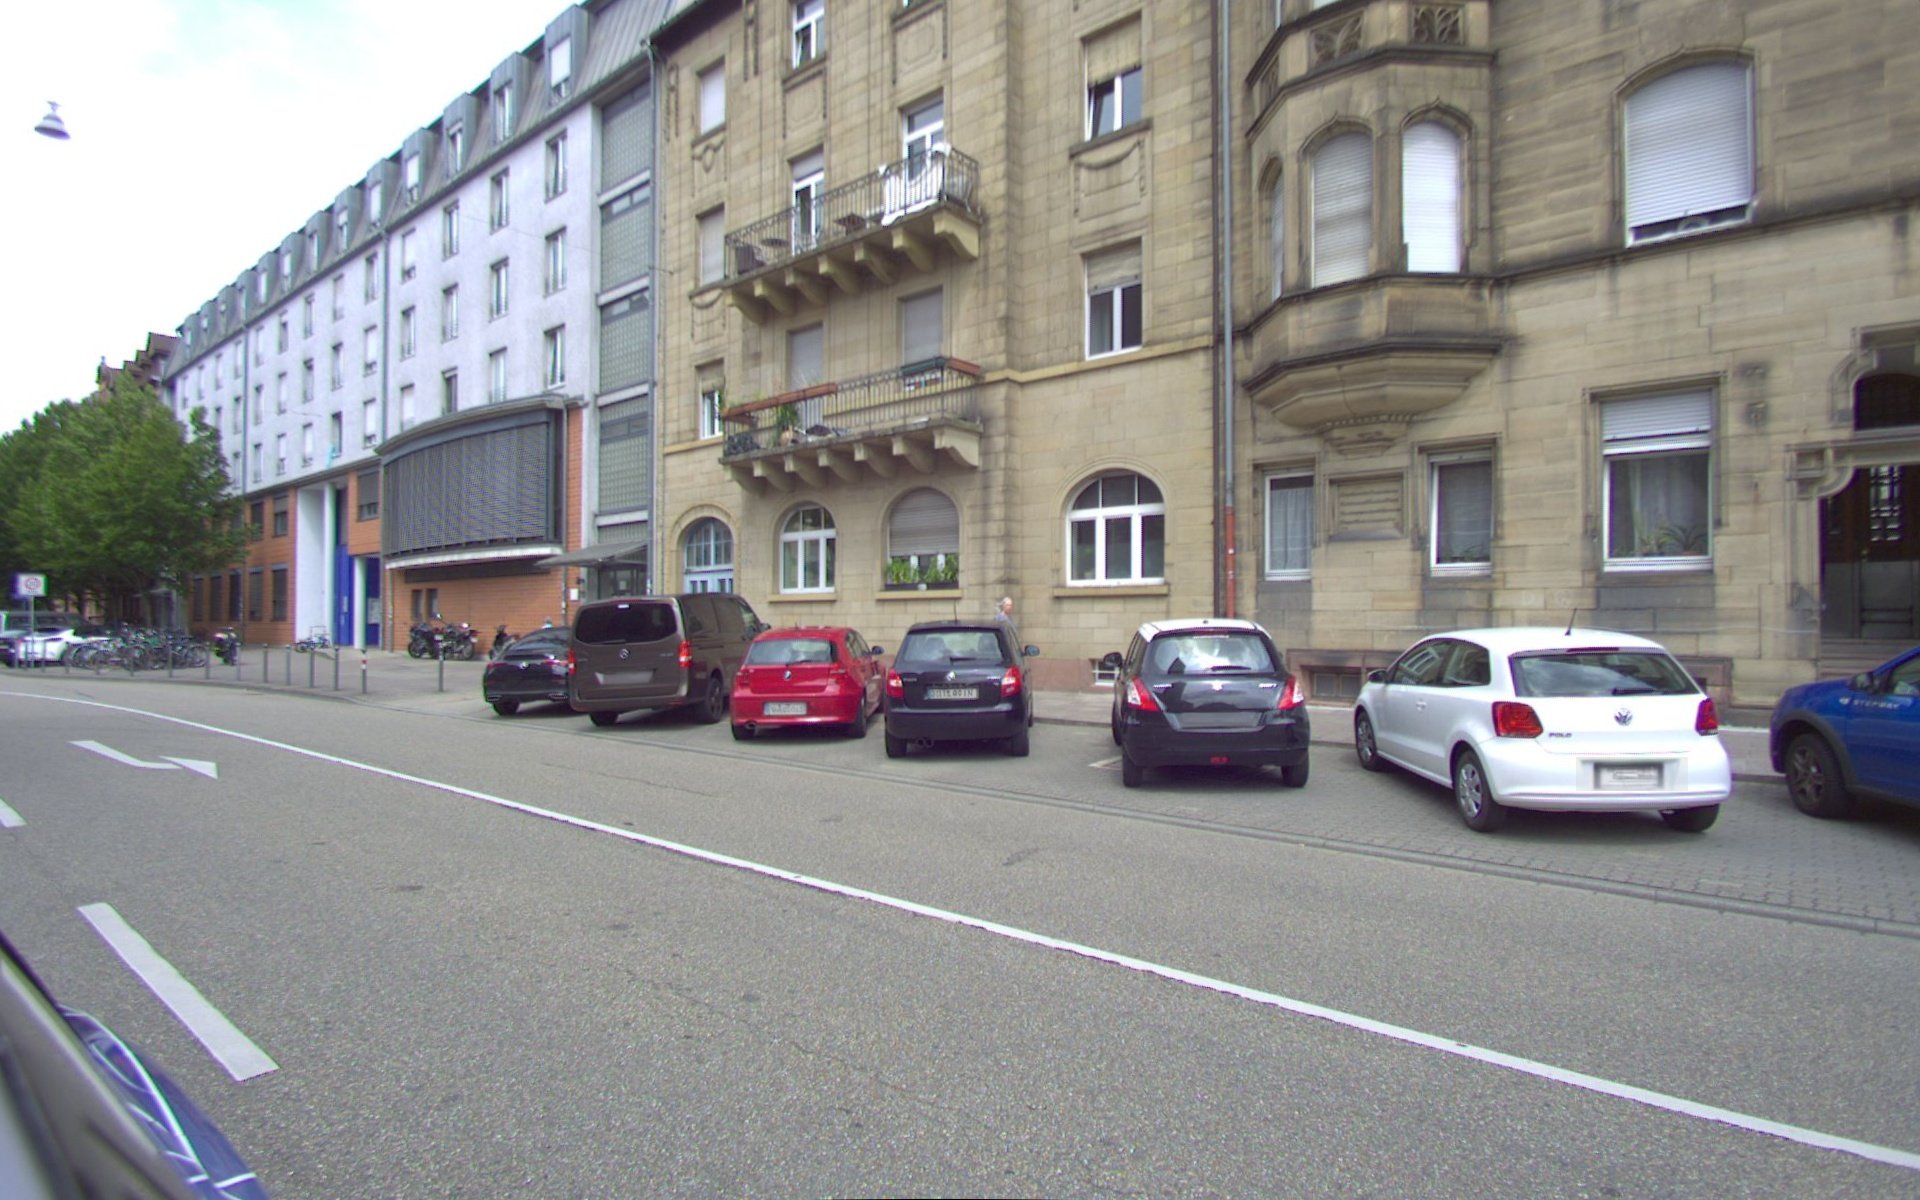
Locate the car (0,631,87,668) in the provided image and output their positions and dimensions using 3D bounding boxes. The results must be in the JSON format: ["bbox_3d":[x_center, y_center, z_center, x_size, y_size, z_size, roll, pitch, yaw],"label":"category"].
[{"bbox_3d":[-39.136,2.043,42.272,1.606,1.457,3.996,-1,-2,7],"label":"car"}]

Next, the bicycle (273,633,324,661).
[{"bbox_3d":[-26.168,1.848,40.032,1.590,0.933,0.933,-6,2,-37],"label":"bicycle"}]

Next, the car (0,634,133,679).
[{"bbox_3d":[-32.668,1.994,36.588,1.697,1.480,4.307,-1,-2,7],"label":"car"}]

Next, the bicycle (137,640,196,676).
[{"bbox_3d":[-24.538,1.782,31.314,0.402,1.034,1.390,-2,-2,43],"label":"bicycle"}]

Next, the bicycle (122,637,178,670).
[{"bbox_3d":[-26.284,1.725,32.852,0.402,1.034,1.390,-2,-2,43],"label":"bicycle"}]

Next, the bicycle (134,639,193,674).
[{"bbox_3d":[-24.926,1.770,31.686,0.402,1.034,1.390,-2,-2,43],"label":"bicycle"}]

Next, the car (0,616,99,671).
[{"bbox_3d":[-37.042,1.681,40.296,1.841,2.013,3.993,-1,0,10],"label":"car"}]

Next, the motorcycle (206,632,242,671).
[{"bbox_3d":[-23.114,1.602,31.763,1.779,1.181,0.577,-2,-1,43],"label":"motorcycle"}]

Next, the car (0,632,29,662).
[{"bbox_3d":[-53.111,2.567,54.697,1.671,1.580,3.996,-1,-2,7],"label":"car"}]

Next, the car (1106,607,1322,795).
[{"bbox_3d":[2.458,0.905,10.635,1.776,1.576,4.001,-1,-2,9],"label":"car"}]

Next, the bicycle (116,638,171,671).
[{"bbox_3d":[-27.211,1.816,33.740,0.402,1.034,1.390,-2,-2,43],"label":"bicycle"}]

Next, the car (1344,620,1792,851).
[{"bbox_3d":[4.661,0.931,8.470,1.720,1.493,3.680,-1,-2,5],"label":"car"}]

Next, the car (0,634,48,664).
[{"bbox_3d":[-45.406,2.321,47.383,1.577,1.400,3.996,-1,-2,7],"label":"car"}]

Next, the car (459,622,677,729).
[{"bbox_3d":[-6.690,1.214,17.901,1.874,1.420,4.669,-2,1,2],"label":"car"}]

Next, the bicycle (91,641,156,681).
[{"bbox_3d":[-24.232,1.753,29.346,0.402,1.046,1.391,-2,0,43],"label":"bicycle"}]

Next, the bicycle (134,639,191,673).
[{"bbox_3d":[-25.248,1.756,32.057,0.402,1.034,1.390,-2,-2,43],"label":"bicycle"}]

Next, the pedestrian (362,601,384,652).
[{"bbox_3d":[-23.670,1.082,40.804,0.718,2.029,0.785,1,-2,-29],"label":"pedestrian"}]

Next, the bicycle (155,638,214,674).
[{"bbox_3d":[-23.473,1.678,30.650,0.402,1.034,1.390,-2,-2,43],"label":"bicycle"}]

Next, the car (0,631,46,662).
[{"bbox_3d":[-47.098,2.286,49.091,1.671,1.465,3.996,-1,-2,7],"label":"car"}]

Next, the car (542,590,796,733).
[{"bbox_3d":[-4.387,0.907,16.340,2.096,1.924,5.260,-1,-2,7],"label":"car"}]

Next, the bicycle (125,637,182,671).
[{"bbox_3d":[-25.918,1.733,32.532,0.402,1.034,1.390,-2,-2,43],"label":"bicycle"}]

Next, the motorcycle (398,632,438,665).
[{"bbox_3d":[-17.688,1.573,33.028,1.655,1.057,0.577,-2,-1,40],"label":"motorcycle"}]

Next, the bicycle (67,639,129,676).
[{"bbox_3d":[-26.511,1.750,31.134,0.402,1.046,1.391,-2,0,43],"label":"bicycle"}]

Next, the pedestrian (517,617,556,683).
[{"bbox_3d":[-9.760,1.138,23.308,0.508,1.497,0.654,-2,-2,35],"label":"pedestrian"}]

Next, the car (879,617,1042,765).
[{"bbox_3d":[0.155,0.988,12.449,1.611,1.514,3.989,-1,-2,6],"label":"car"}]

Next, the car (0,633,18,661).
[{"bbox_3d":[-55.179,2.653,56.226,1.671,1.580,3.996,-1,-2,7],"label":"car"}]

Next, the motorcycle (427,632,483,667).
[{"bbox_3d":[-15.755,1.534,31.570,1.959,1.057,0.579,-2,-1,30],"label":"motorcycle"}]

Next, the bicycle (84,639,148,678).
[{"bbox_3d":[-24.934,1.709,29.901,0.402,1.046,1.391,-2,0,43],"label":"bicycle"}]

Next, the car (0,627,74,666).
[{"bbox_3d":[-41.194,2.016,43.960,1.692,1.627,3.996,-1,-2,7],"label":"car"}]

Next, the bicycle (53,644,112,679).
[{"bbox_3d":[-28.540,1.976,32.942,0.402,1.034,1.391,-2,0,43],"label":"bicycle"}]

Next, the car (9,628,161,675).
[{"bbox_3d":[-30.431,1.758,35.359,1.583,1.557,3.997,-1,-2,7],"label":"car"}]

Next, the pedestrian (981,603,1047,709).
[{"bbox_3d":[0.860,0.870,16.096,0.678,1.607,0.783,-2,0,41],"label":"pedestrian"}]

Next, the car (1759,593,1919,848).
[{"bbox_3d":[7.084,0.770,6.101,1.703,1.664,3.772,-1,-2,5],"label":"car"}]

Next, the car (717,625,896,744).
[{"bbox_3d":[-1.970,1.067,14.114,1.772,1.420,4.009,0,-2,2],"label":"car"}]

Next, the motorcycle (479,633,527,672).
[{"bbox_3d":[-13.099,1.496,28.981,1.793,1.057,0.577,-2,-1,42],"label":"motorcycle"}]

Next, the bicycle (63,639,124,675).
[{"bbox_3d":[-26.995,1.774,31.555,0.402,1.034,1.391,-2,0,43],"label":"bicycle"}]

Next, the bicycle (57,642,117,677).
[{"bbox_3d":[-27.939,1.900,32.404,0.402,1.034,1.391,-2,0,43],"label":"bicycle"}]
